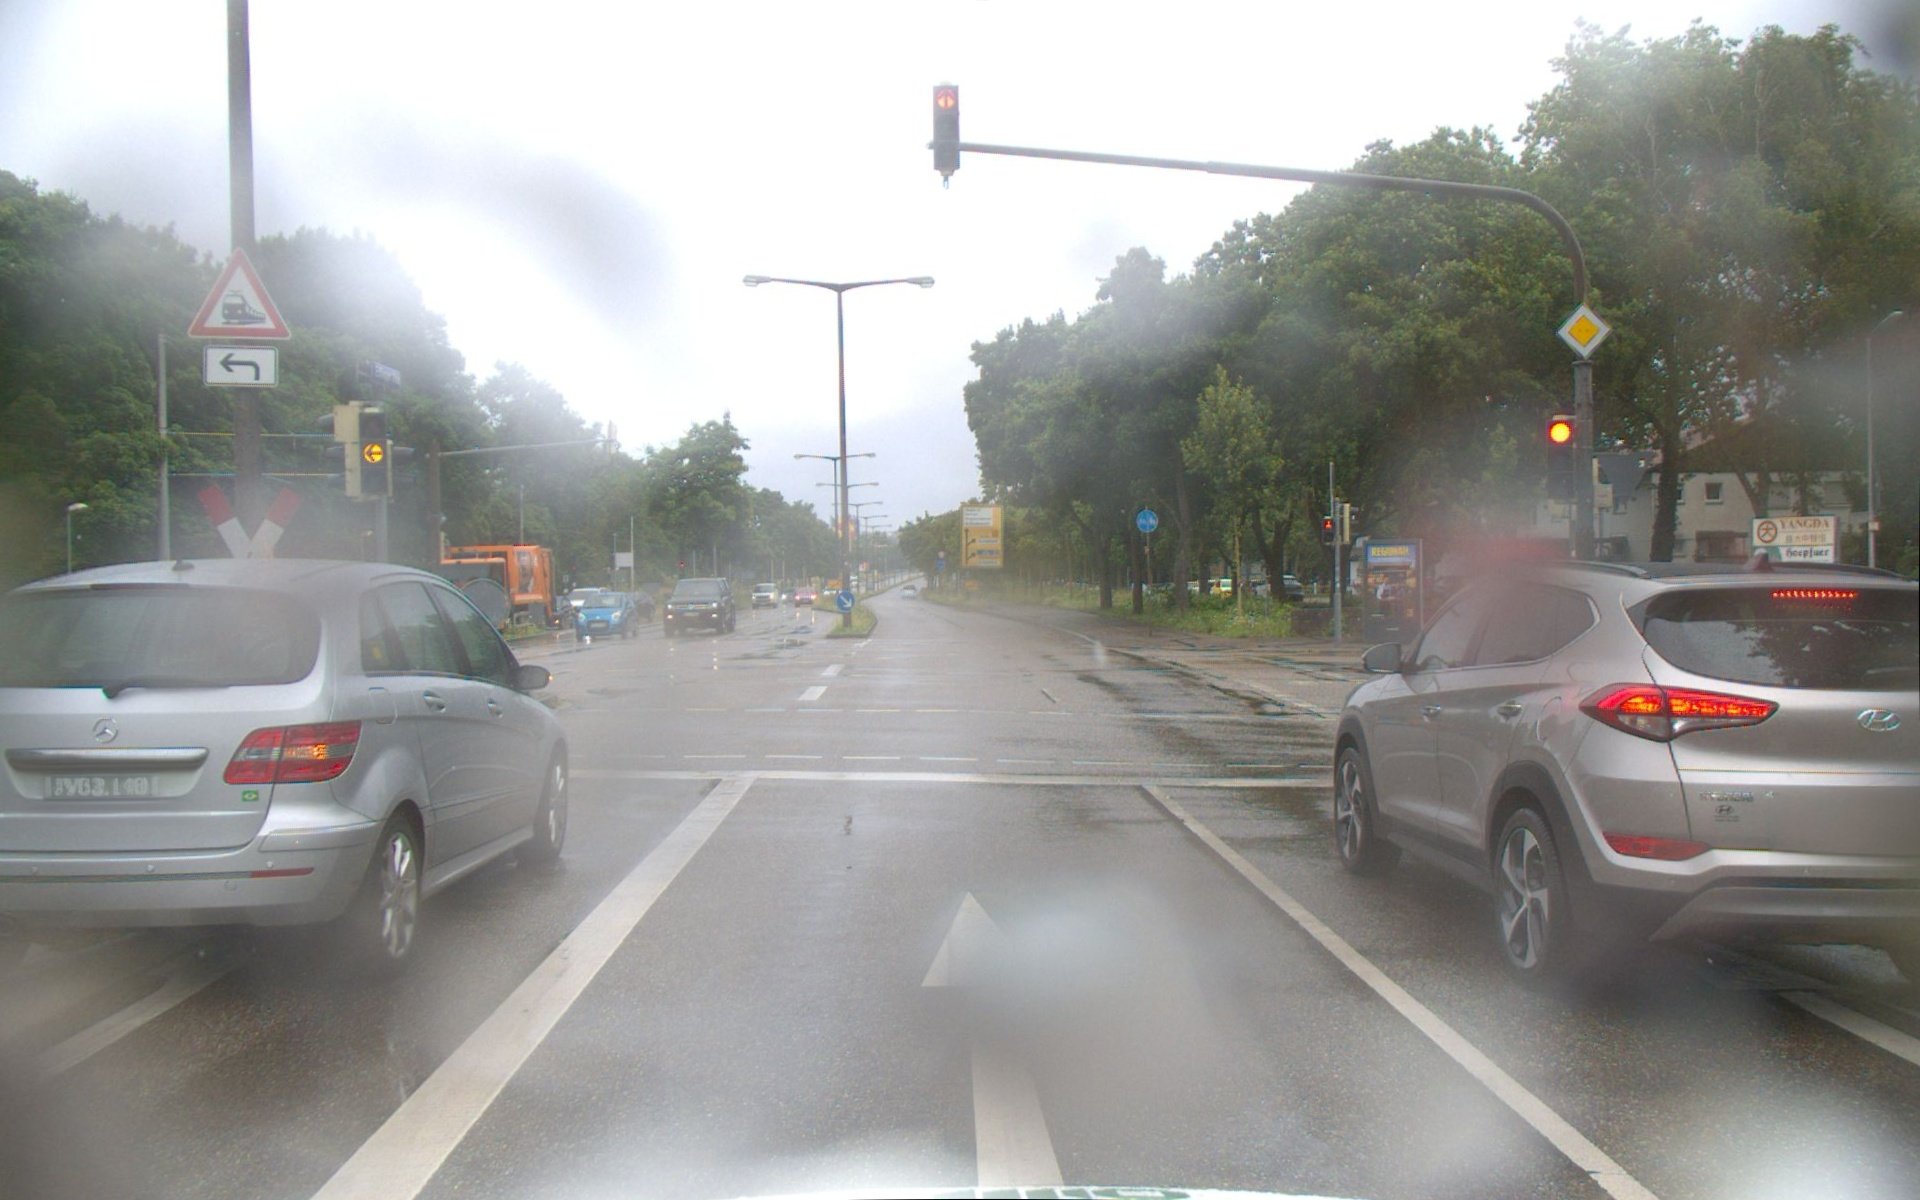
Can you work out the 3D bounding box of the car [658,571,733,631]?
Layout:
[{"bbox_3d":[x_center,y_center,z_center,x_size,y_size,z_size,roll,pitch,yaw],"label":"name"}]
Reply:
[{"bbox_3d":[-8.613,0.010,54.310,1.769,1.804,5.087,-2,1,-2],"label":"car"}]

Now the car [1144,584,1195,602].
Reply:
[{"bbox_3d":[20.317,-0.712,160.382,4.483,1.673,1.997,1,0,-8],"label":"car"}]

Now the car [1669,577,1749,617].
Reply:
[{"bbox_3d":[28.721,-0.104,63.413,3.724,1.474,1.577,1,0,-45],"label":"car"}]

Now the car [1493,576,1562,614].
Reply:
[{"bbox_3d":[23.418,-0.189,68.214,1.637,1.474,3.737,1,0,36],"label":"car"}]

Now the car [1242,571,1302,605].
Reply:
[{"bbox_3d":[16.777,-0.648,89.228,1.954,1.747,4.875,-1,0,-4],"label":"car"}]

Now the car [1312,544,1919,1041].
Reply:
[{"bbox_3d":[2.991,0.639,7.569,1.846,1.638,4.195,0,0,0],"label":"car"}]

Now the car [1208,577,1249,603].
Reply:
[{"bbox_3d":[16.633,-0.606,102.634,1.605,1.512,4.069,1,0,-4],"label":"car"}]

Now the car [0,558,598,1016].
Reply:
[{"bbox_3d":[-2.923,0.630,7.714,1.701,1.571,4.012,0,0,-2],"label":"car"}]

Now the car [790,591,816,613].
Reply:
[{"bbox_3d":[-12.096,0.178,127.606,1.765,1.597,4.426,-2,0,-3],"label":"car"}]

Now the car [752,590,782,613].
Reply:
[{"bbox_3d":[-14.848,0.113,127.242,1.855,1.639,4.499,-1,1,-1],"label":"car"}]

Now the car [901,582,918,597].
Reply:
[{"bbox_3d":[-5.505,-1.160,180.924,1.868,1.541,3.999,-1,1,-1],"label":"car"}]

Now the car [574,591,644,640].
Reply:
[{"bbox_3d":[-11.276,0.489,53.348,1.609,1.452,3.997,-3,0,-4],"label":"car"}]

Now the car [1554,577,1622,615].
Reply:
[{"bbox_3d":[25.412,-0.156,66.841,1.637,1.474,3.737,1,0,36],"label":"car"}]

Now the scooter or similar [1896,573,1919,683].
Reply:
[{"bbox_3d":[11.387,0.315,19.113,0.937,1.251,0.322,-1,0,3],"label":"scooter or similar"}]

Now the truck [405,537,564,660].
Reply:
[{"bbox_3d":[-17.829,-0.059,62.908,3.317,4.240,10.402,1,0,-2],"label":"truck"}]
